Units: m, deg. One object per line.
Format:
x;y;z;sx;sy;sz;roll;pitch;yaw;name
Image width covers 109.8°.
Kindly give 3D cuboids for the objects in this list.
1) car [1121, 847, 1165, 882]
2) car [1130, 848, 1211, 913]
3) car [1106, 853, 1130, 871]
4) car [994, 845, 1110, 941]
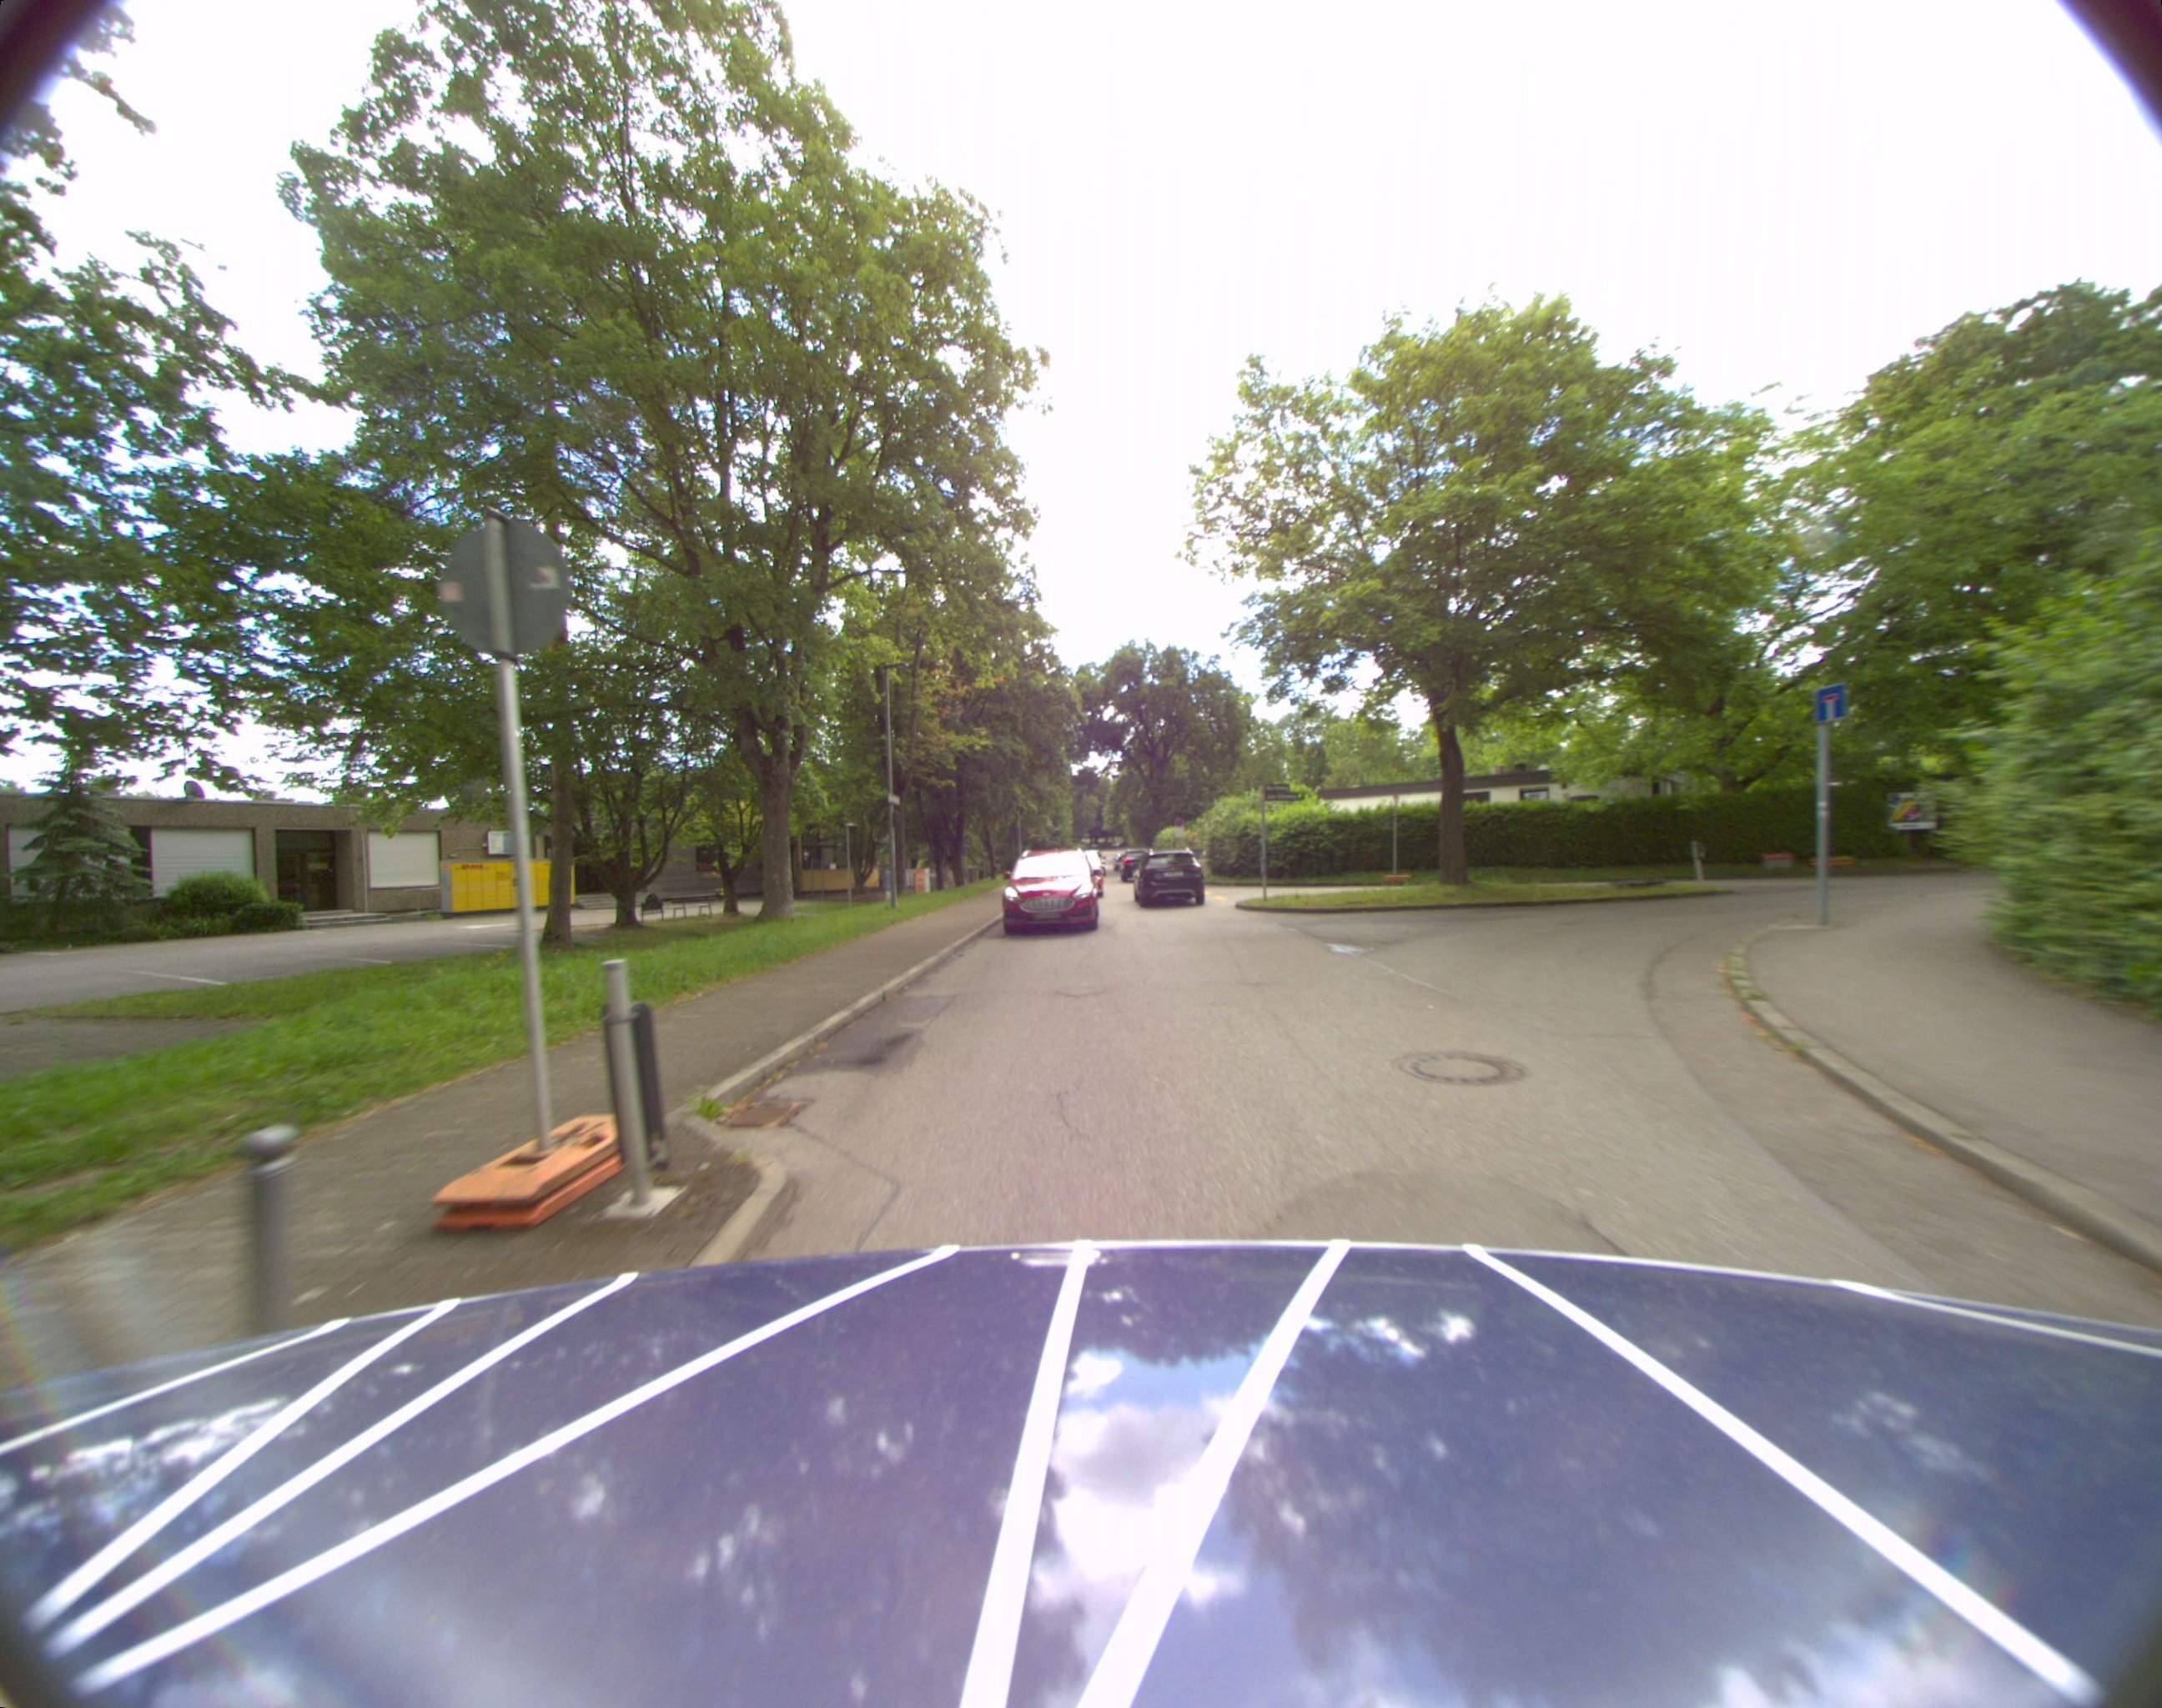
3.027;0.494;37.985;1.807;1.582;4.296;-3;0;0;car
2.444;0.672;21.676;1.807;1.582;4.296;-3;0;1;car
3.004;0.592;60.811;1.785;1.299;4.297;-3;0;4;car
-0.477;0.702;16.134;1.815;1.718;4.001;0;2;7;car
